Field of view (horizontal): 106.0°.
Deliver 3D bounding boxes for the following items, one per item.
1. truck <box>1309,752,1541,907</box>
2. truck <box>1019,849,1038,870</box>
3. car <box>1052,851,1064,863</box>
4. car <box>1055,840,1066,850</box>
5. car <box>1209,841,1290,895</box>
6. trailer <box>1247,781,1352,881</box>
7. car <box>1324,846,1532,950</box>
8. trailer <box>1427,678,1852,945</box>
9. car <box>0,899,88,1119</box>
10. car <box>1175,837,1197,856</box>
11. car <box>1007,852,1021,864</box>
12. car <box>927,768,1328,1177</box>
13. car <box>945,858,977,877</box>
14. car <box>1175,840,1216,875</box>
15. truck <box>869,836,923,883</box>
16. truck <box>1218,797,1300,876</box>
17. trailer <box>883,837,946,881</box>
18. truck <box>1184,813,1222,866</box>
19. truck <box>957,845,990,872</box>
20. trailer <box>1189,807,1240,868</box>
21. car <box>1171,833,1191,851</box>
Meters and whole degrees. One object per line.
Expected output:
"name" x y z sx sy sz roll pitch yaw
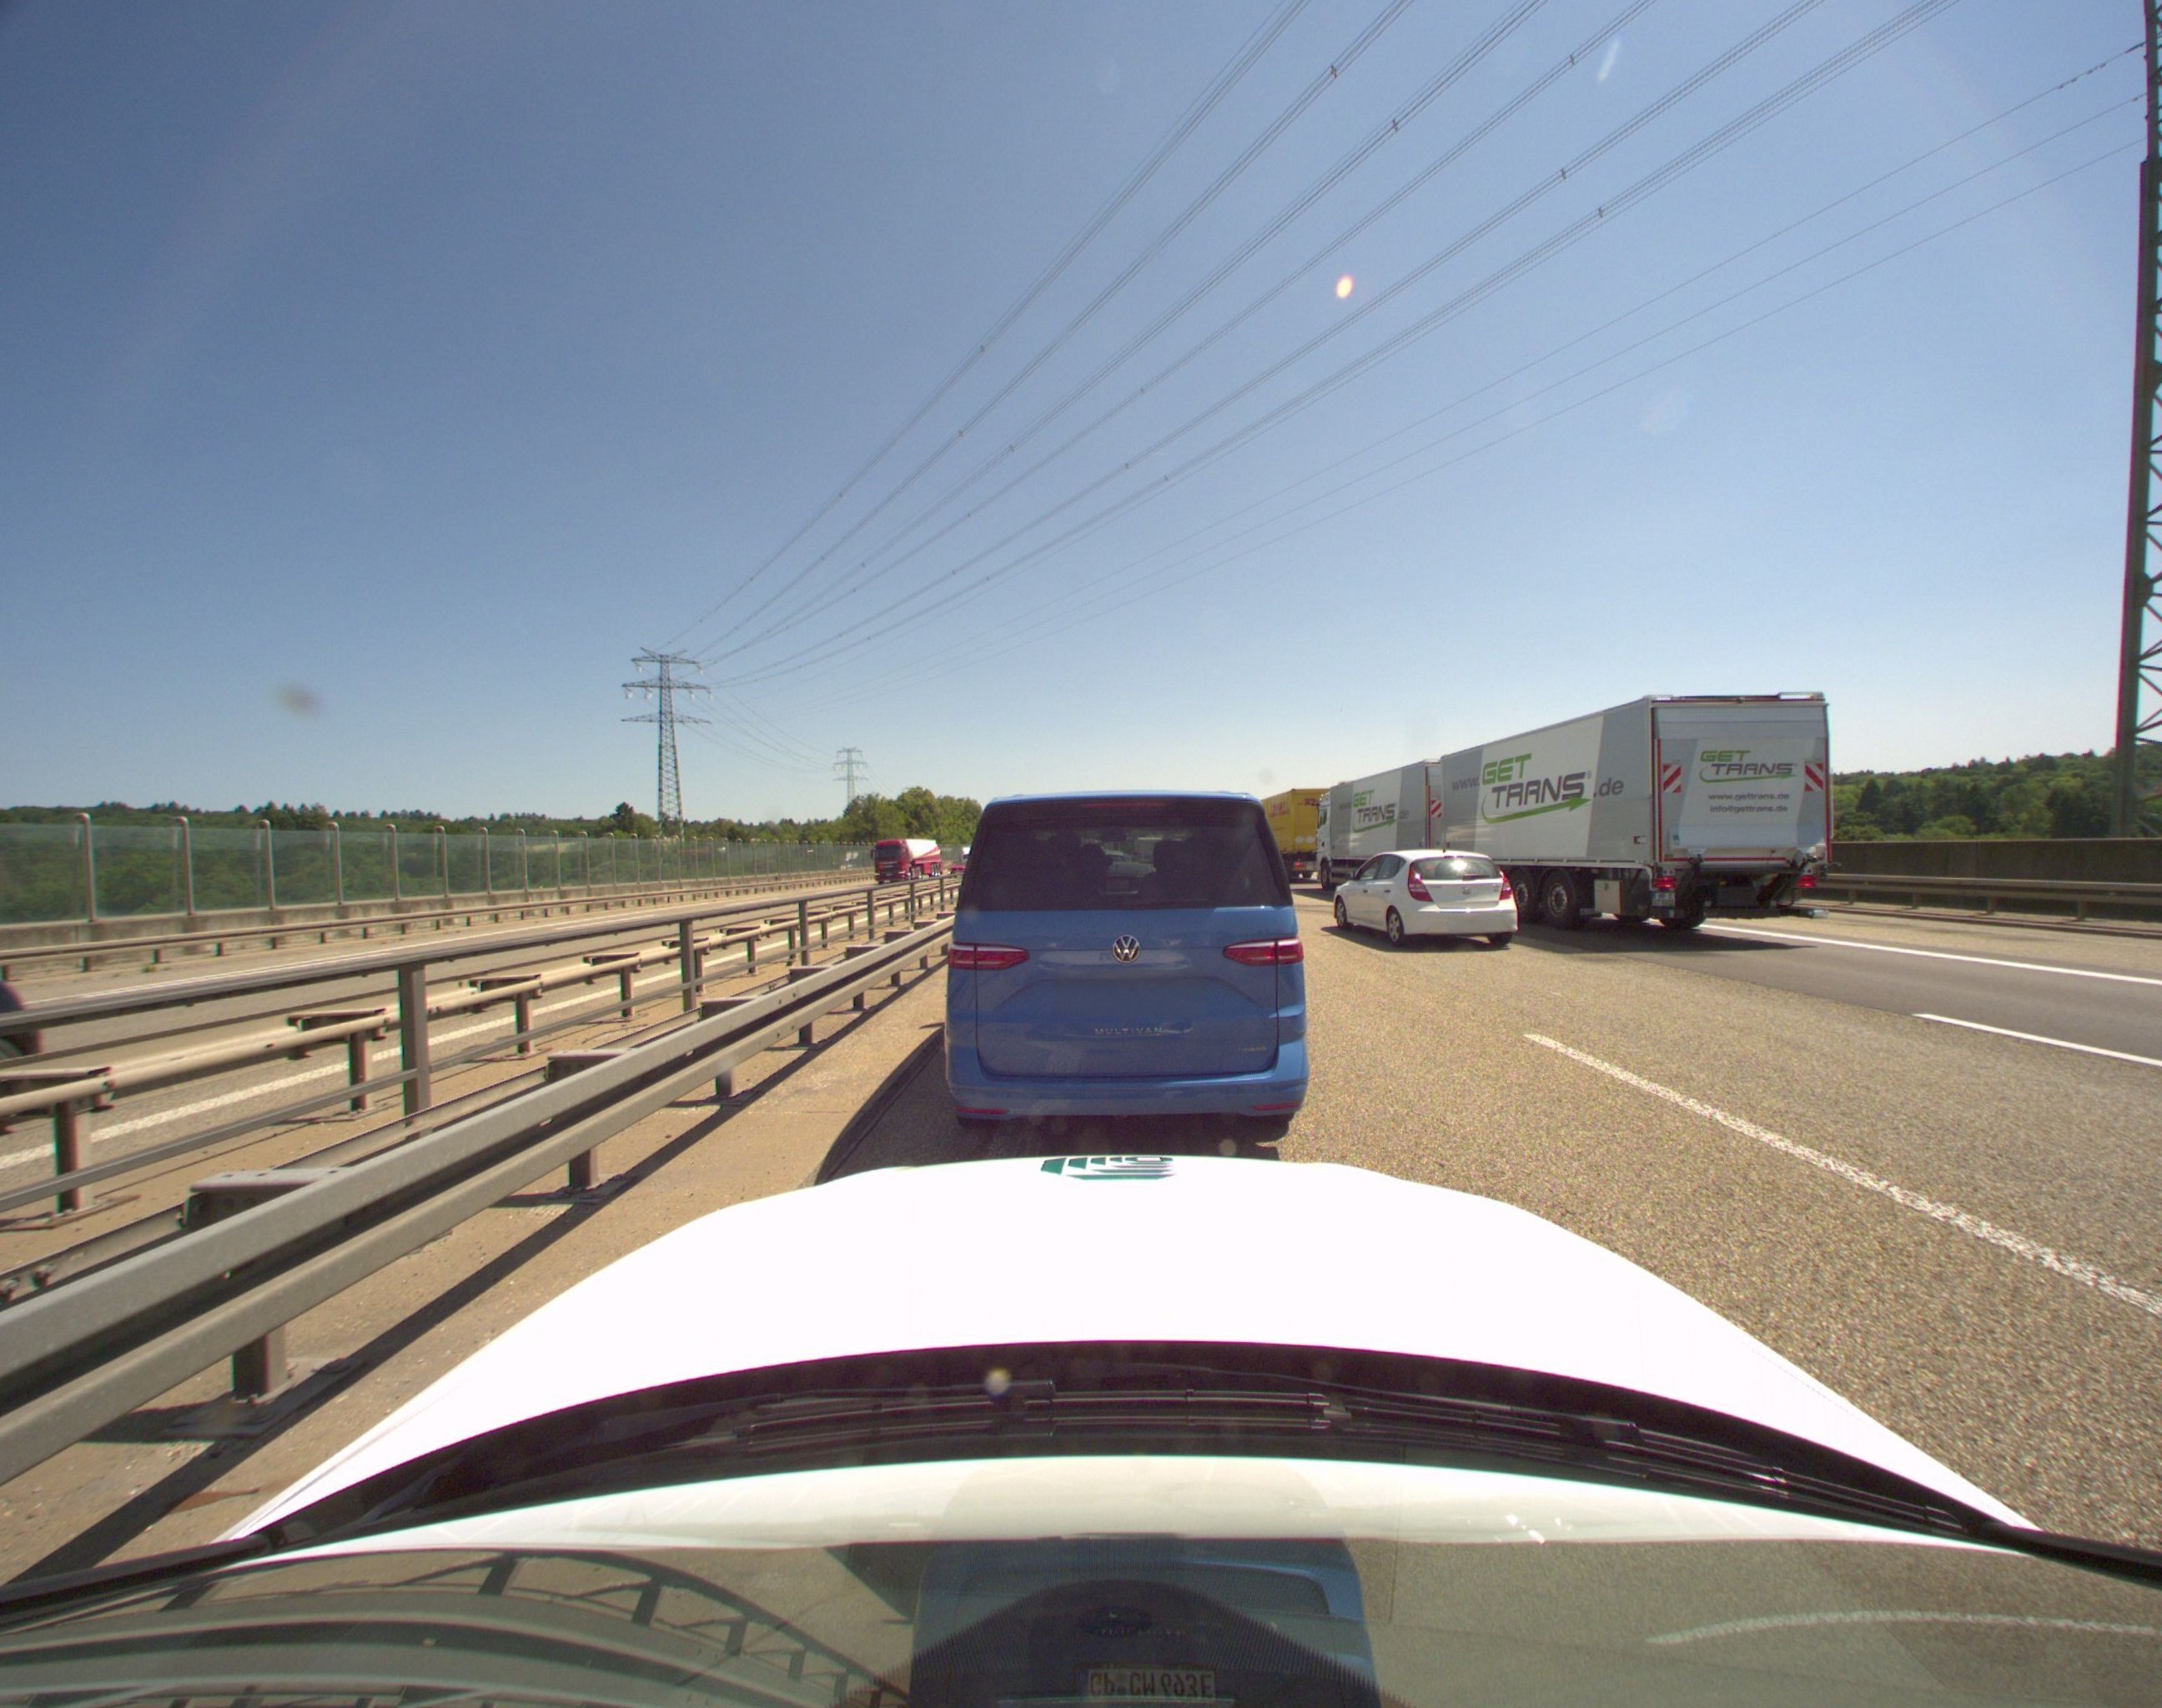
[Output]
"truck" 9.788 -0.600 25.025 2.647 3.648 11.013 -1 0 1
"truck" -9.036 0.942 141.673 2.553 3.359 8.863 -3 0 0
"car" -4.033 0.520 144.277 1.894 2.014 4.002 -1 0 2
"car" -4.107 -1.814 161.830 1.986 2.014 4.314 -1 0 2
"car" 5.603 0.441 27.571 1.954 1.644 4.295 -1 0 2
"trailer" 10.232 -0.967 39.222 2.854 4.239 9.015 -1 0 2
"car" 5.606 0.624 13.808 1.782 1.455 4.295 -1 0 2
"trailer" 9.581 -0.609 15.506 2.688 3.700 8.017 -1 0 1
"car" -8.214 1.114 4.155 1.613 1.464 3.703 -3 0 2
"car" 11.170 -0.795 87.033 1.986 2.014 4.002 -1 0 2
"car" -12.760 0.730 155.508 2.074 2.149 4.314 -3 0 2
"car" 0.276 0.546 5.755 1.813 1.857 4.076 -1 0 2
"car" -10.159 1.120 68.986 1.856 1.444 4.132 -4 0 2
"car" 6.930 0.198 49.650 1.954 1.993 4.295 -1 0 2
"truck" -14.371 0.403 63.711 2.488 3.365 5.836 -4 0 2
"truck" 10.488 -0.943 49.254 2.826 4.243 11.013 -1 0 1
"trailer" -14.188 0.395 70.590 2.472 3.344 12.077 -4 0 2
"truck" 10.912 -1.212 73.364 2.657 4.484 6.853 -1 0 2
"truck" -13.571 0.548 103.417 2.510 3.110 8.724 -5 0 1
"trailer" 10.634 -1.225 66.037 2.627 4.516 11.306 -1 0 2
"car" 11.988 -1.397 97.592 1.986 2.013 4.463 -2 0 2
